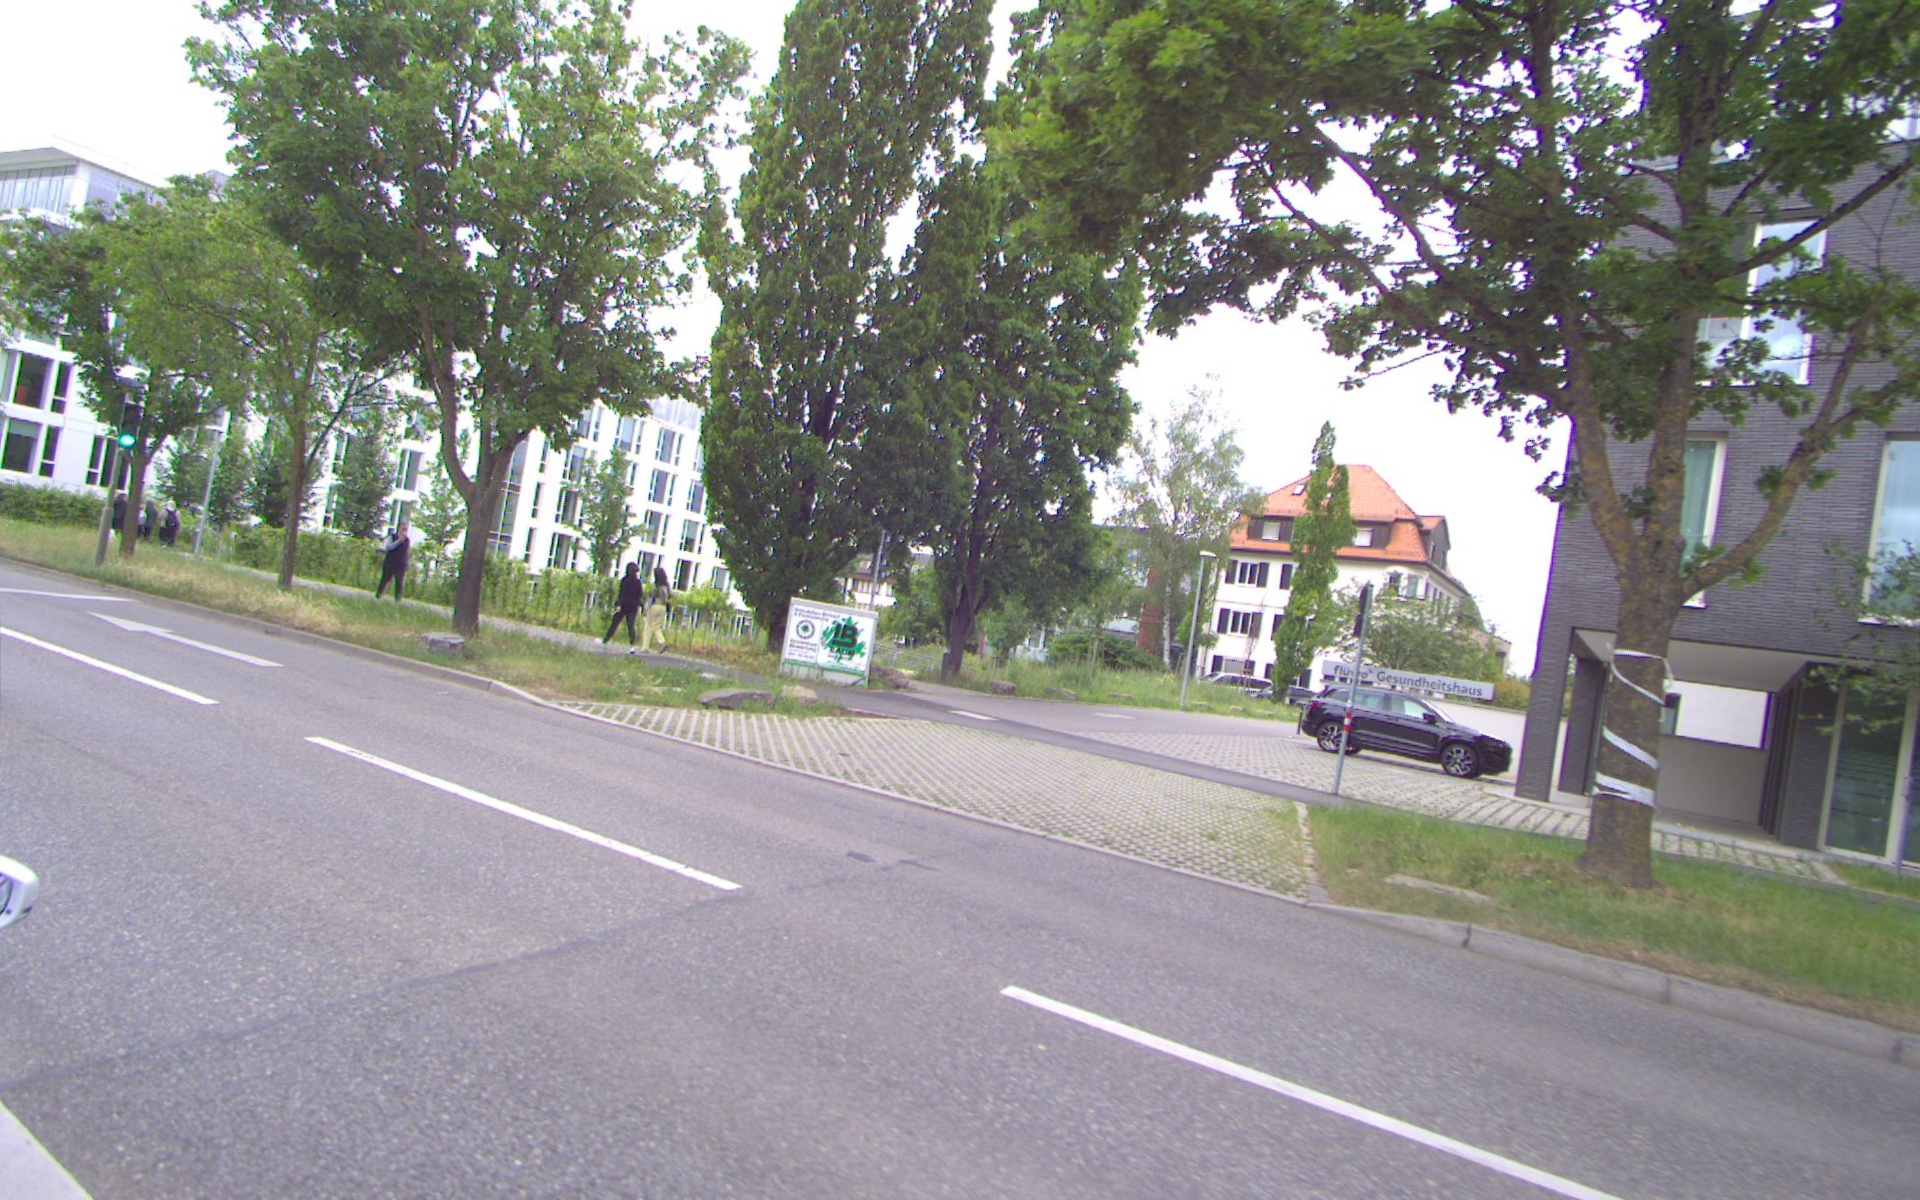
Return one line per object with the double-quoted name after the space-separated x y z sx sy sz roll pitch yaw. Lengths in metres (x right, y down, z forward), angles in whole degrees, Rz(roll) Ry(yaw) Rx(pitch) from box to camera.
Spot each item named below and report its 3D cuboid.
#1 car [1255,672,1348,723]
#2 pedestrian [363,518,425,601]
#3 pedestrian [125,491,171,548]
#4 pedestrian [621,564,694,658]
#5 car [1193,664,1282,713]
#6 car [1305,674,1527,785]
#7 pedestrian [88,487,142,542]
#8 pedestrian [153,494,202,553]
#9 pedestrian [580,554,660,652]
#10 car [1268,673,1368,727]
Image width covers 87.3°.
18.170 5.185 53.643 4.060 2.036 1.999 9 -1 -7 "car"
-11.930 -0.850 21.212 0.663 1.592 0.743 7 -1 32 "pedestrian"
-24.853 -2.466 30.794 0.869 1.614 0.701 7 -1 32 "pedestrian"
-5.932 0.209 19.724 0.938 1.679 0.778 7 -2 39 "pedestrian"
15.299 4.866 55.557 4.060 2.036 1.999 9 -1 -7 "car"
9.970 2.776 22.070 4.081 1.665 1.759 7 -2 33 "car"
-25.344 -2.560 30.170 1.094 1.465 0.791 7 -1 32 "pedestrian"
-24.473 -2.386 31.464 0.869 1.704 0.768 7 -1 32 "pedestrian"
-6.443 0.054 19.050 1.044 1.679 0.796 7 -2 39 "pedestrian"
18.015 5.034 50.725 4.060 2.036 1.999 9 -1 -7 "car"
